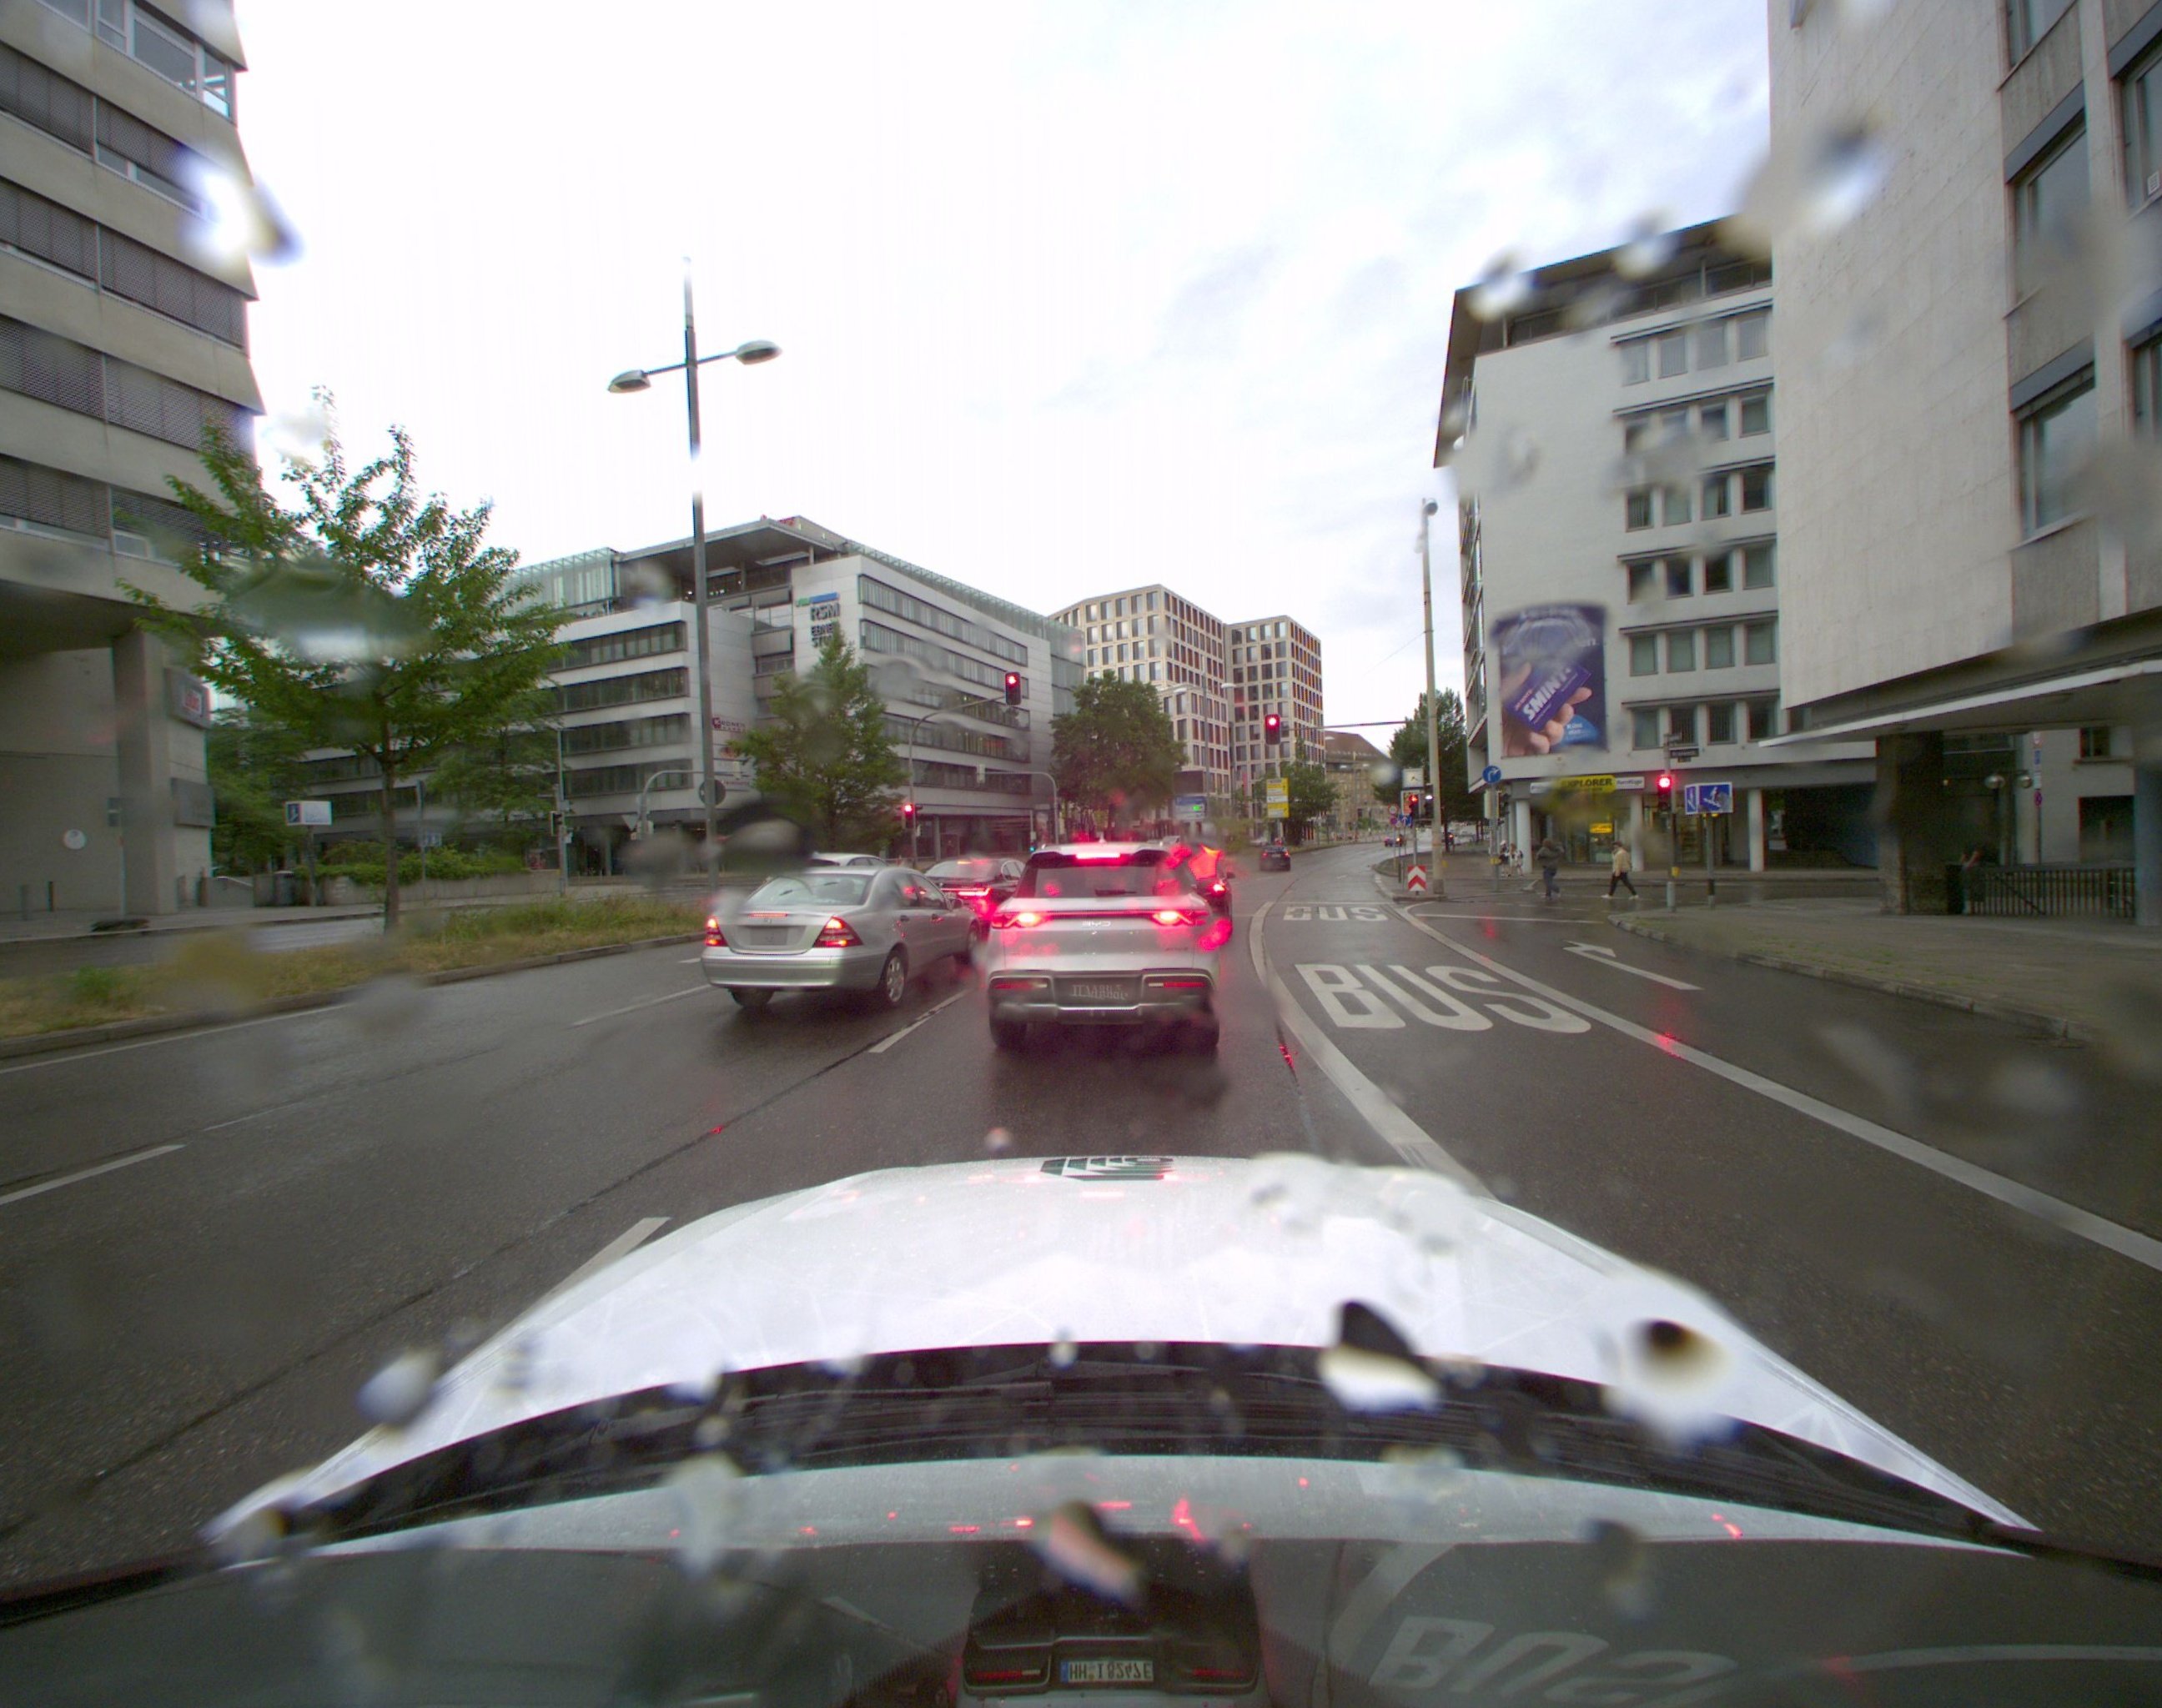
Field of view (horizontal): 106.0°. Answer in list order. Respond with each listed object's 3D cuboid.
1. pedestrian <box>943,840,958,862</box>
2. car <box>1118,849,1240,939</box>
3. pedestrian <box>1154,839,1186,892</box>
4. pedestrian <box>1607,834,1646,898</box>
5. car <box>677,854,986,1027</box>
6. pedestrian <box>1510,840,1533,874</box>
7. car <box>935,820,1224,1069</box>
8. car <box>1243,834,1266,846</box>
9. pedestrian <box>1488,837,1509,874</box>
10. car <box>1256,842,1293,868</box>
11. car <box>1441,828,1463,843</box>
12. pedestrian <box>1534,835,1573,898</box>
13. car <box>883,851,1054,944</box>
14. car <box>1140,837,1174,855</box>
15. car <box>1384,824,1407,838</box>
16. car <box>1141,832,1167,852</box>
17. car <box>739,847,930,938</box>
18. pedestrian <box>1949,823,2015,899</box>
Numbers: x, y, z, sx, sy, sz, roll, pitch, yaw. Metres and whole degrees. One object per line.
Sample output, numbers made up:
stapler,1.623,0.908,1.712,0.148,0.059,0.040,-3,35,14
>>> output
pedestrian,-10.617,-0.250,66.233,0.721,1.727,0.930,-1,0,24
car,2.081,0.688,16.176,1.941,1.530,4.014,-1,0,13
pedestrian,2.951,0.381,27.173,0.920,1.738,0.729,-2,0,-3
pedestrian,15.731,0.345,23.492,0.721,1.798,0.742,-1,0,17
car,-2.511,0.786,9.405,1.672,1.486,4.207,-1,0,9
pedestrian,19.756,0.140,36.523,0.721,1.524,0.763,-1,-1,17
car,0.236,0.623,7.916,1.983,1.709,4.491,-2,0,7
car,25.463,-2.088,119.342,1.975,1.705,4.336,-1,2,29
pedestrian,19.069,0.077,37.192,0.721,1.668,0.694,-1,-1,17
car,12.009,0.036,50.712,1.981,1.552,4.011,0,1,10
car,46.217,-2.317,101.377,2.027,1.765,4.384,0,1,30
pedestrian,13.765,0.352,23.751,0.806,1.798,0.714,-1,0,17
car,-1.998,0.743,15.781,1.941,1.530,4.014,-1,0,13
car,7.902,-0.880,84.609,1.974,1.705,4.026,0,2,29
car,35.388,-2.513,91.526,1.892,1.510,4.383,0,1,29
car,8.157,-1.272,90.647,1.723,2.161,4.516,0,0,20
car,-4.783,0.684,16.488,1.871,1.596,4.015,-1,0,14
pedestrian,21.513,0.155,19.471,0.800,1.755,1.005,0,-1,-44
